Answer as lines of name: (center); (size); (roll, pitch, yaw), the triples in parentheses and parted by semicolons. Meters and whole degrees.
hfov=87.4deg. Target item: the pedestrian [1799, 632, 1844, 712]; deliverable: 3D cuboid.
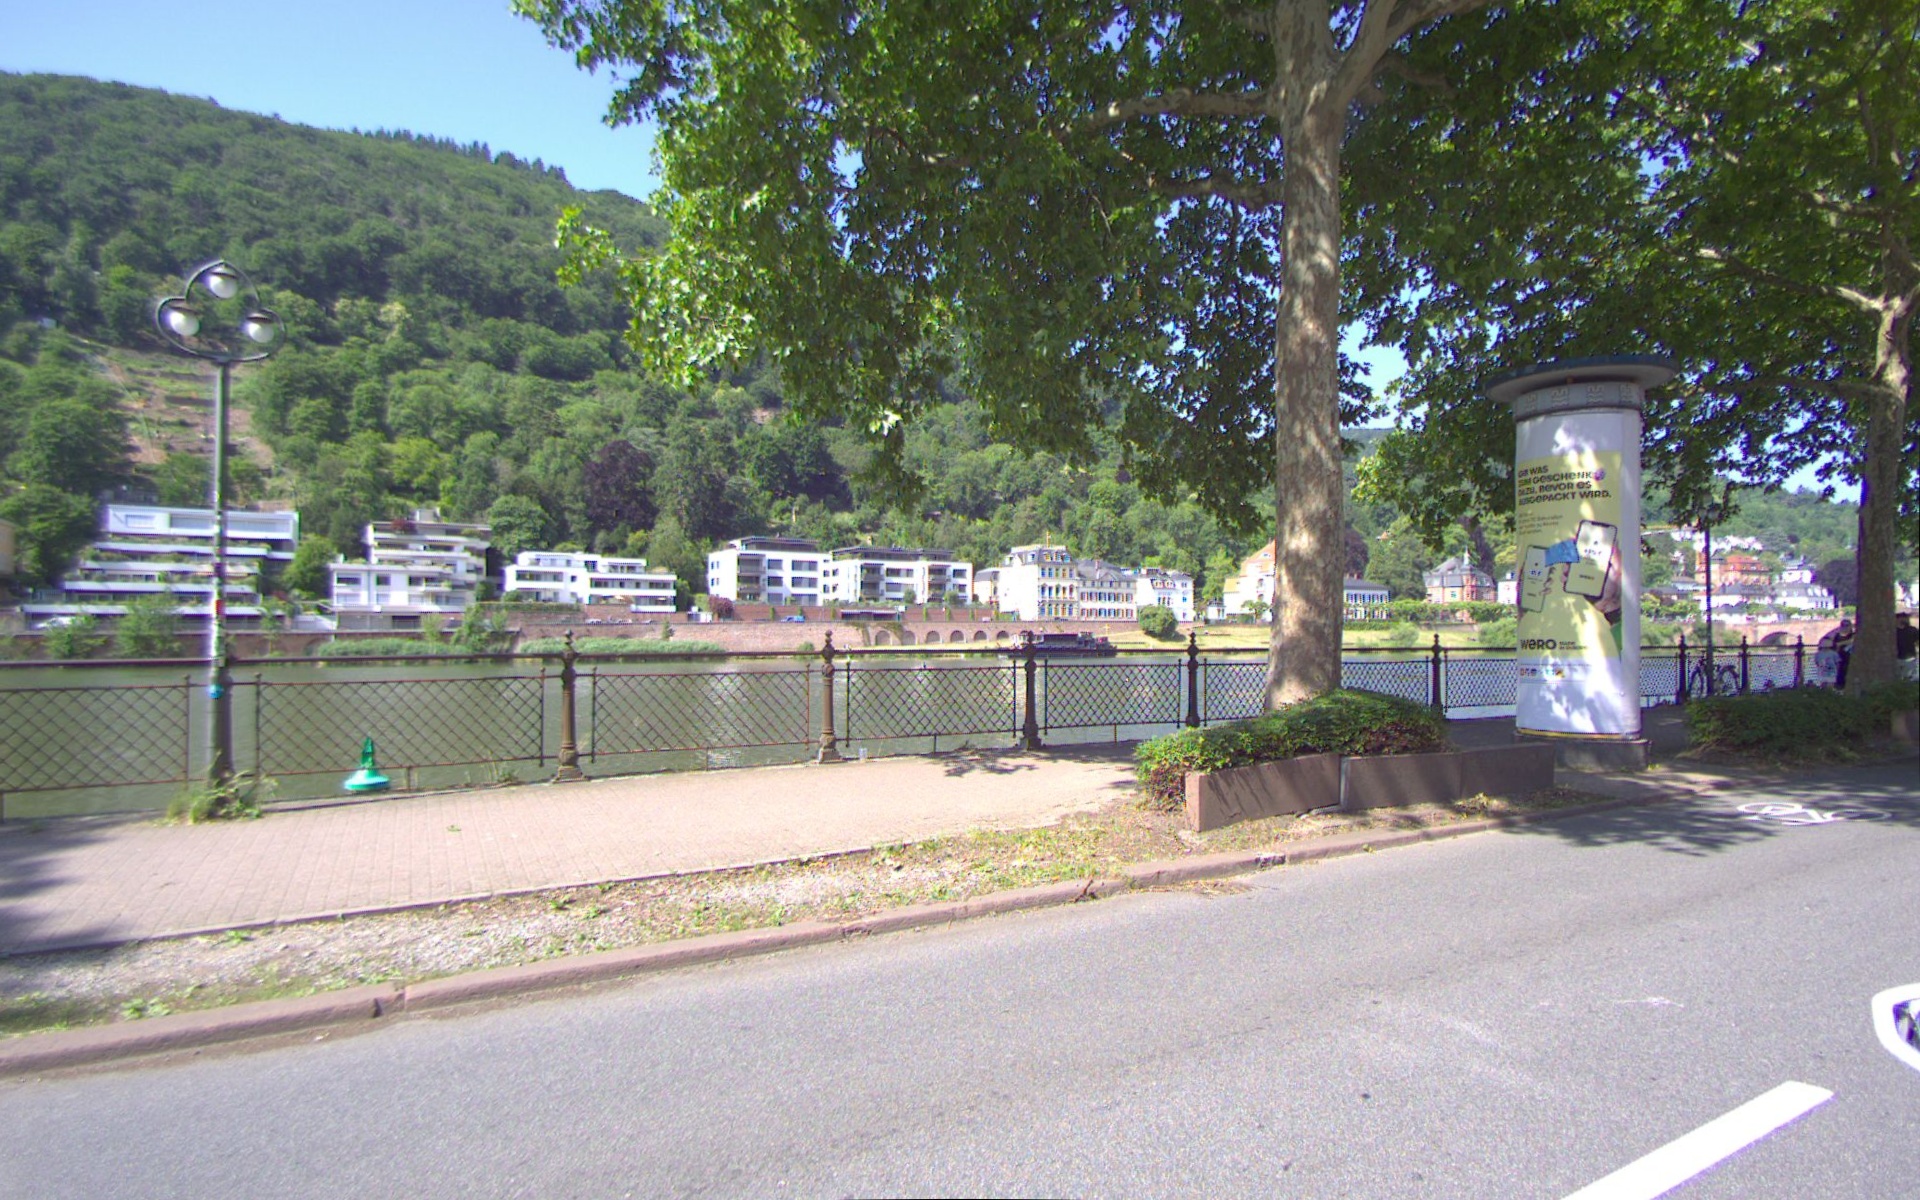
pedestrian: (15.328, 1.264, 17.874); (0.411, 1.381, 0.477); (1, 0, -26)

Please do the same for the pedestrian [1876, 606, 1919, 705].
pedestrian: (18.588, 1.090, 19.876); (0.431, 1.912, 0.531); (1, 1, -30)

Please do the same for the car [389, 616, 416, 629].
car: (-94.664, 3.784, 170.550); (3.953, 2.041, 1.984); (0, 1, -30)

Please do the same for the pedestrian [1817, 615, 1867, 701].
pedestrian: (17.955, 1.170, 20.457); (0.577, 1.708, 0.598); (1, -2, -31)

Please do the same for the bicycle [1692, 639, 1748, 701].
bicycle: (14.354, 1.302, 18.961); (1.281, 1.106, 0.357); (1, 2, -31)
